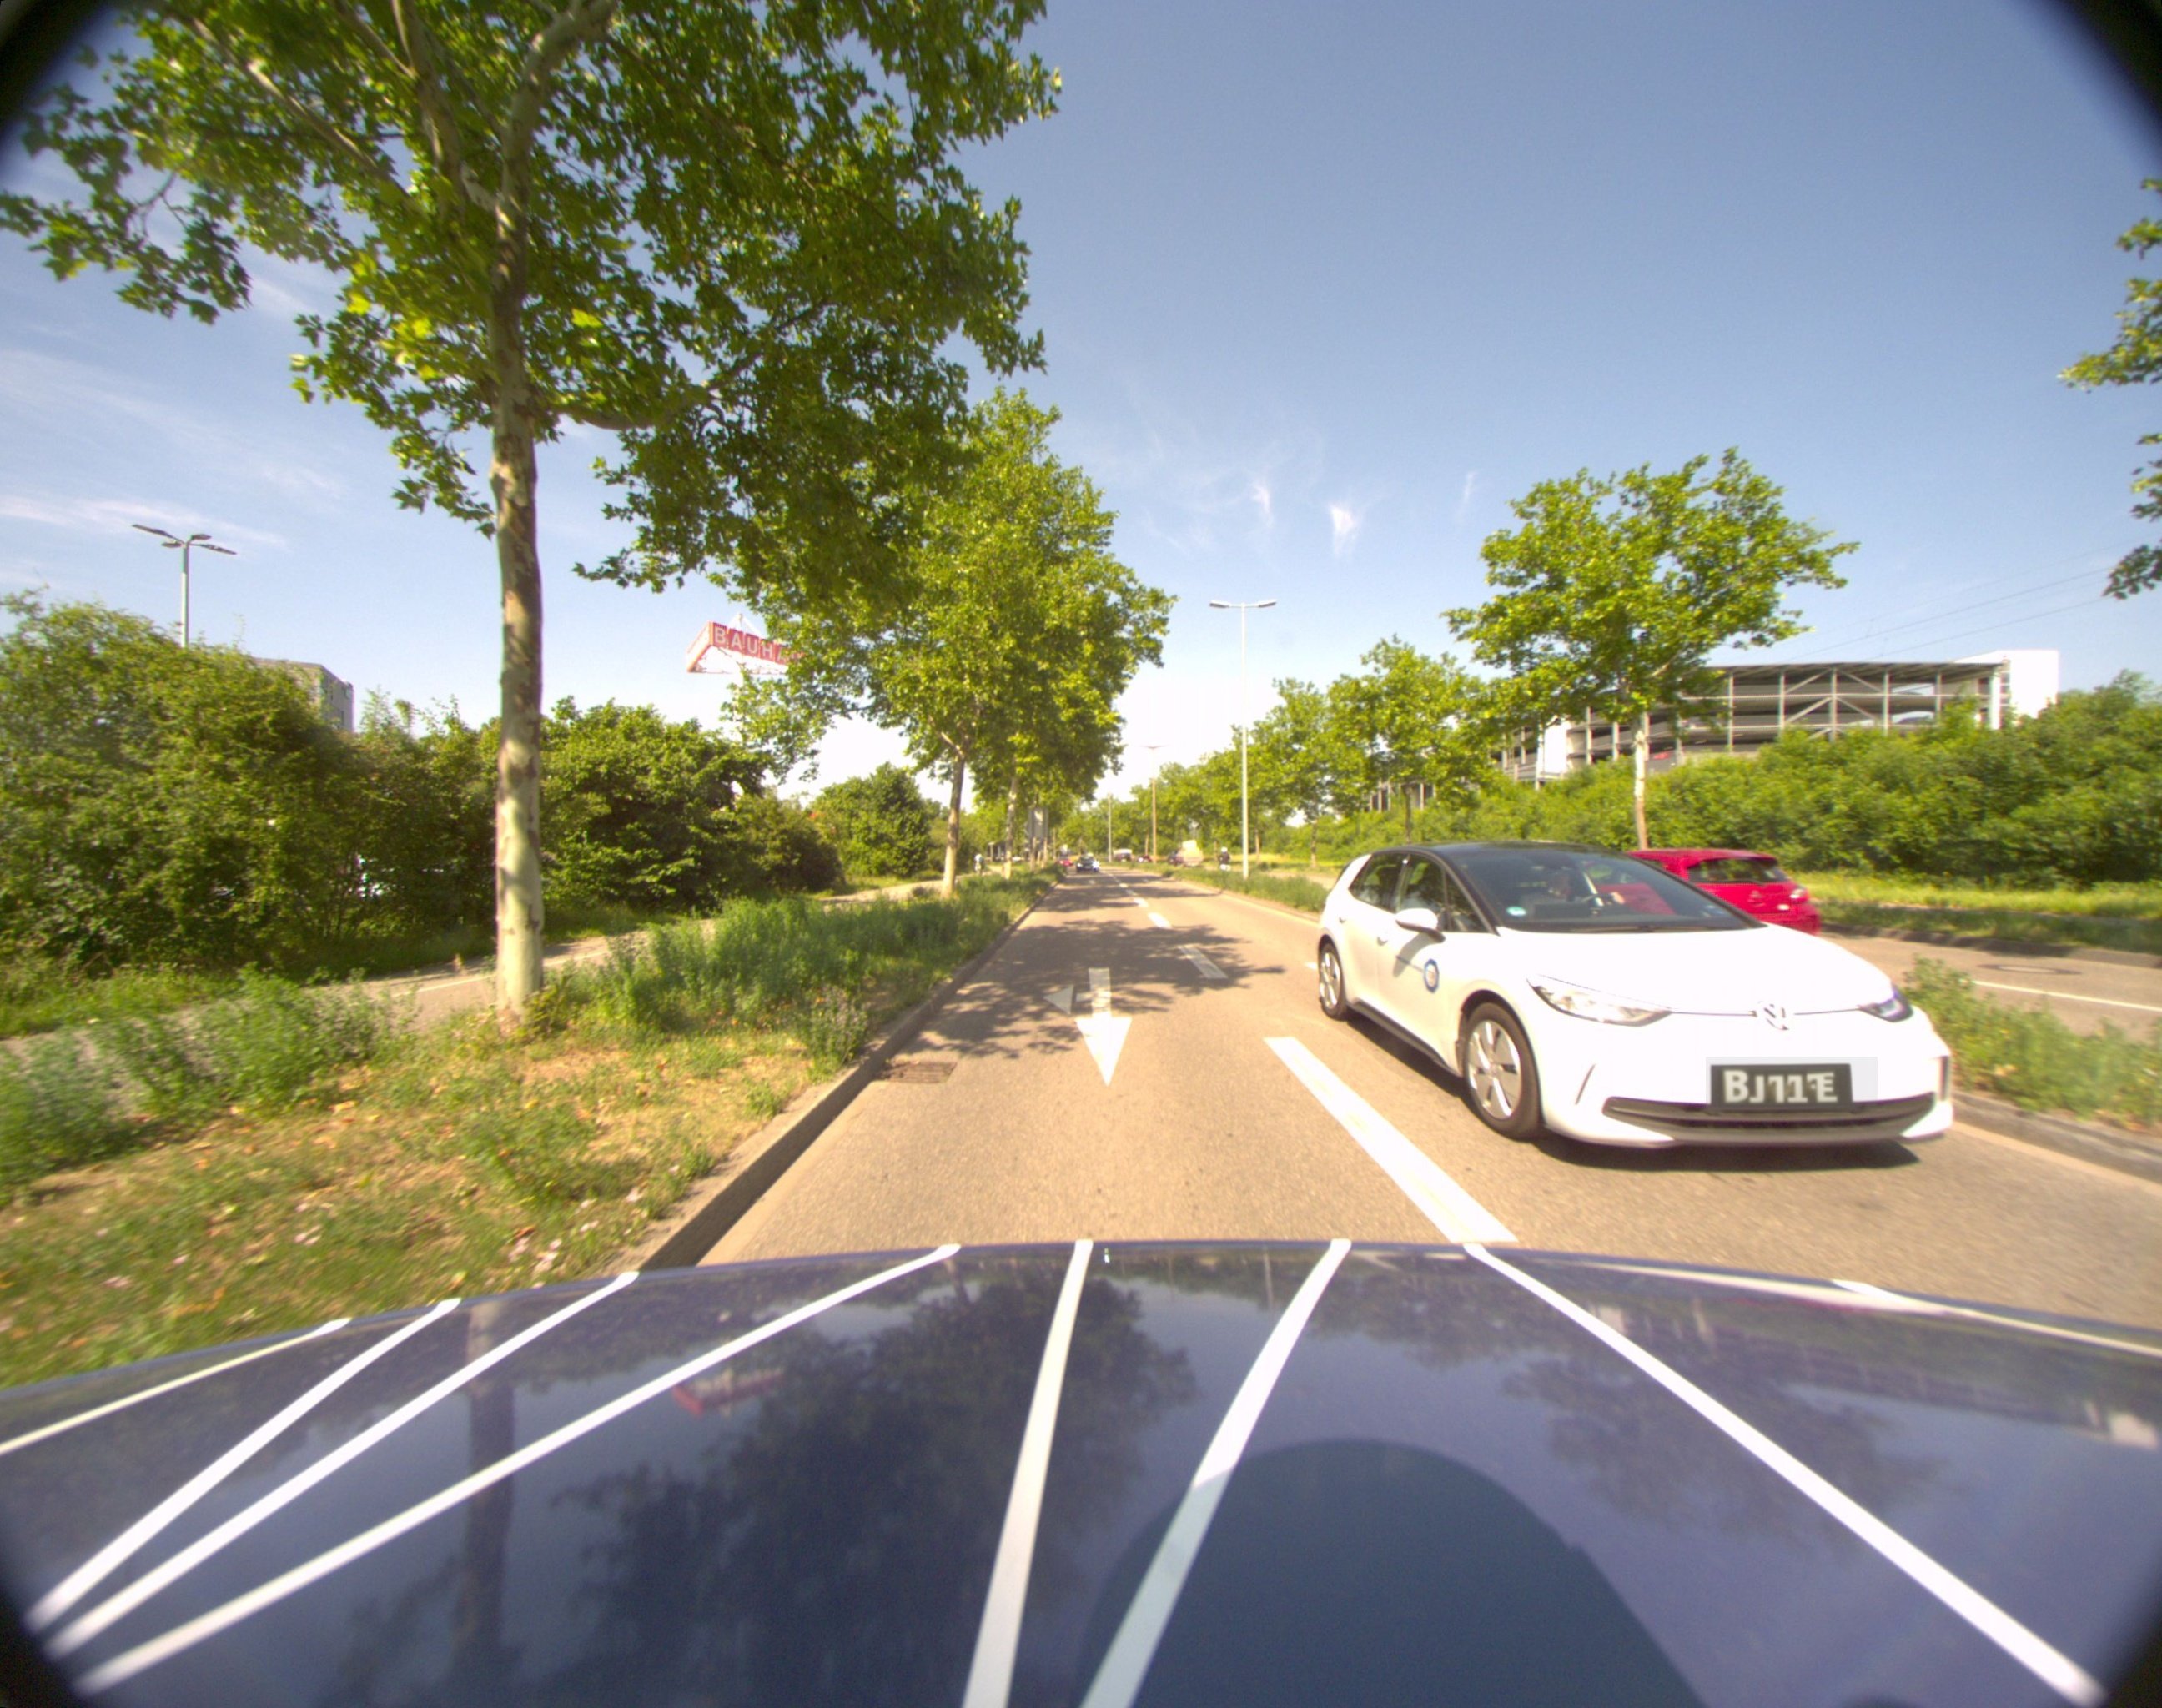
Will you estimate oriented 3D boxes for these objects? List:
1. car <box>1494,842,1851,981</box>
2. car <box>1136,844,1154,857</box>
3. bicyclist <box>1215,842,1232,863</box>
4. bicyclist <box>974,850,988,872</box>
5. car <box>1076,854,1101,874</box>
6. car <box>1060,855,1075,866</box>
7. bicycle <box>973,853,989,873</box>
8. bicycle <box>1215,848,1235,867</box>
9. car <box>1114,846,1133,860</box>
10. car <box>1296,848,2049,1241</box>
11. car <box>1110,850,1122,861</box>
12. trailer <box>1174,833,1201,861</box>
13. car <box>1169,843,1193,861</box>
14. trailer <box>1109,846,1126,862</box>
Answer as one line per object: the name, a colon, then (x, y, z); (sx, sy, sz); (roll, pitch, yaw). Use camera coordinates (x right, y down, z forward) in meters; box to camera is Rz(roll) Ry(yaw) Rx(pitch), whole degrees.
car: (7.995, 0.641, 10.896); (1.858, 1.574, 4.174); (-1, 1, 0)
car: (7.319, -0.418, 87.007); (1.607, 1.463, 3.788); (-2, 1, -2)
bicyclist: (8.189, -0.088, 43.694); (0.730, 1.184, 1.102); (-2, 1, 1)
bicyclist: (-6.623, 0.455, 50.160); (0.706, 1.469, 1.009); (-2, 1, 2)
car: (0.603, 0.816, 63.136); (1.722, 1.575, 3.752); (-2, 1, -4)
car: (-2.043, 0.908, 111.683); (1.650, 1.592, 3.600); (-2, 1, -10)
bicycle: (-6.601, 0.576, 50.158); (0.724, 1.291, 2.095); (-2, 1, 2)
bicycle: (8.229, 0.211, 43.611); (0.730, 1.023, 2.217); (-2, 1, 1)
car: (5.628, -0.176, 101.435); (1.736, 1.799, 4.229); (-3, 1, -6)
car: (2.968, 0.752, 5.145); (1.824, 1.512, 4.208); (-1, 1, 0)
car: (5.349, 0.185, 117.593); (1.719, 1.613, 4.360); (-1, 1, 2)
trailer: (10.887, -0.715, 77.781); (1.885, 2.728, 4.827); (-3, 1, -1)
car: (10.832, -0.224, 82.825); (1.769, 1.779, 5.374); (-3, 1, 0)
trailer: (5.436, -0.018, 112.820); (2.314, 2.252, 5.537); (-1, 1, 2)
